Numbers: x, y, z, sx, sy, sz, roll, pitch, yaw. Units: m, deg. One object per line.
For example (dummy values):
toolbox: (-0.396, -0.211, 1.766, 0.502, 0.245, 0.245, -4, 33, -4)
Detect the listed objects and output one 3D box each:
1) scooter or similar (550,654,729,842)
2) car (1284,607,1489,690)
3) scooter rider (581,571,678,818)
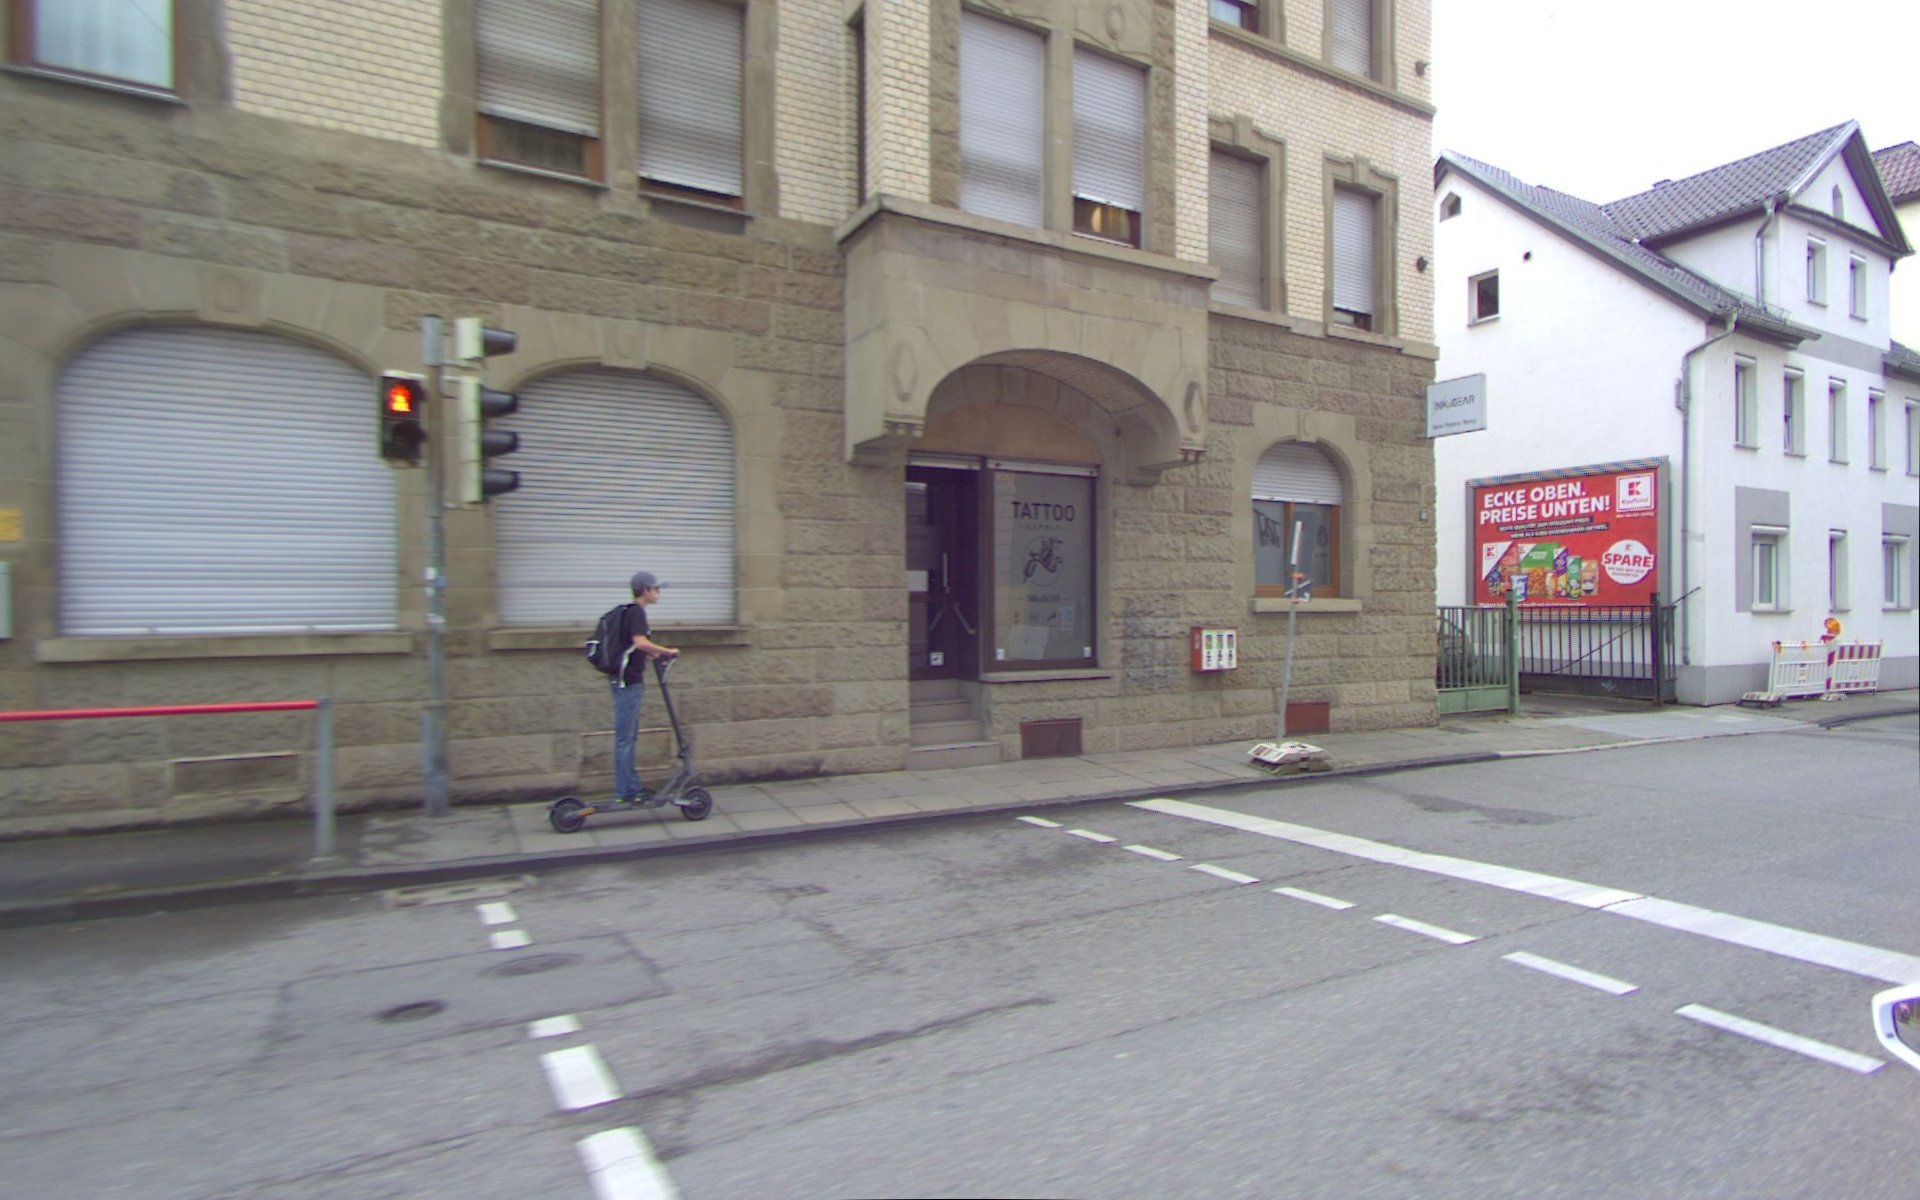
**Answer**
scooter or similar: (-2.375, 1.060, 7.467, 1.212, 1.259, 0.376, 0, 2, -30)
car: (9.209, 0.980, 21.998, 1.775, 1.592, 3.900, 0, 0, -27)
scooter rider: (-2.439, 0.667, 7.404, 0.570, 1.728, 0.485, 0, 3, -30)
